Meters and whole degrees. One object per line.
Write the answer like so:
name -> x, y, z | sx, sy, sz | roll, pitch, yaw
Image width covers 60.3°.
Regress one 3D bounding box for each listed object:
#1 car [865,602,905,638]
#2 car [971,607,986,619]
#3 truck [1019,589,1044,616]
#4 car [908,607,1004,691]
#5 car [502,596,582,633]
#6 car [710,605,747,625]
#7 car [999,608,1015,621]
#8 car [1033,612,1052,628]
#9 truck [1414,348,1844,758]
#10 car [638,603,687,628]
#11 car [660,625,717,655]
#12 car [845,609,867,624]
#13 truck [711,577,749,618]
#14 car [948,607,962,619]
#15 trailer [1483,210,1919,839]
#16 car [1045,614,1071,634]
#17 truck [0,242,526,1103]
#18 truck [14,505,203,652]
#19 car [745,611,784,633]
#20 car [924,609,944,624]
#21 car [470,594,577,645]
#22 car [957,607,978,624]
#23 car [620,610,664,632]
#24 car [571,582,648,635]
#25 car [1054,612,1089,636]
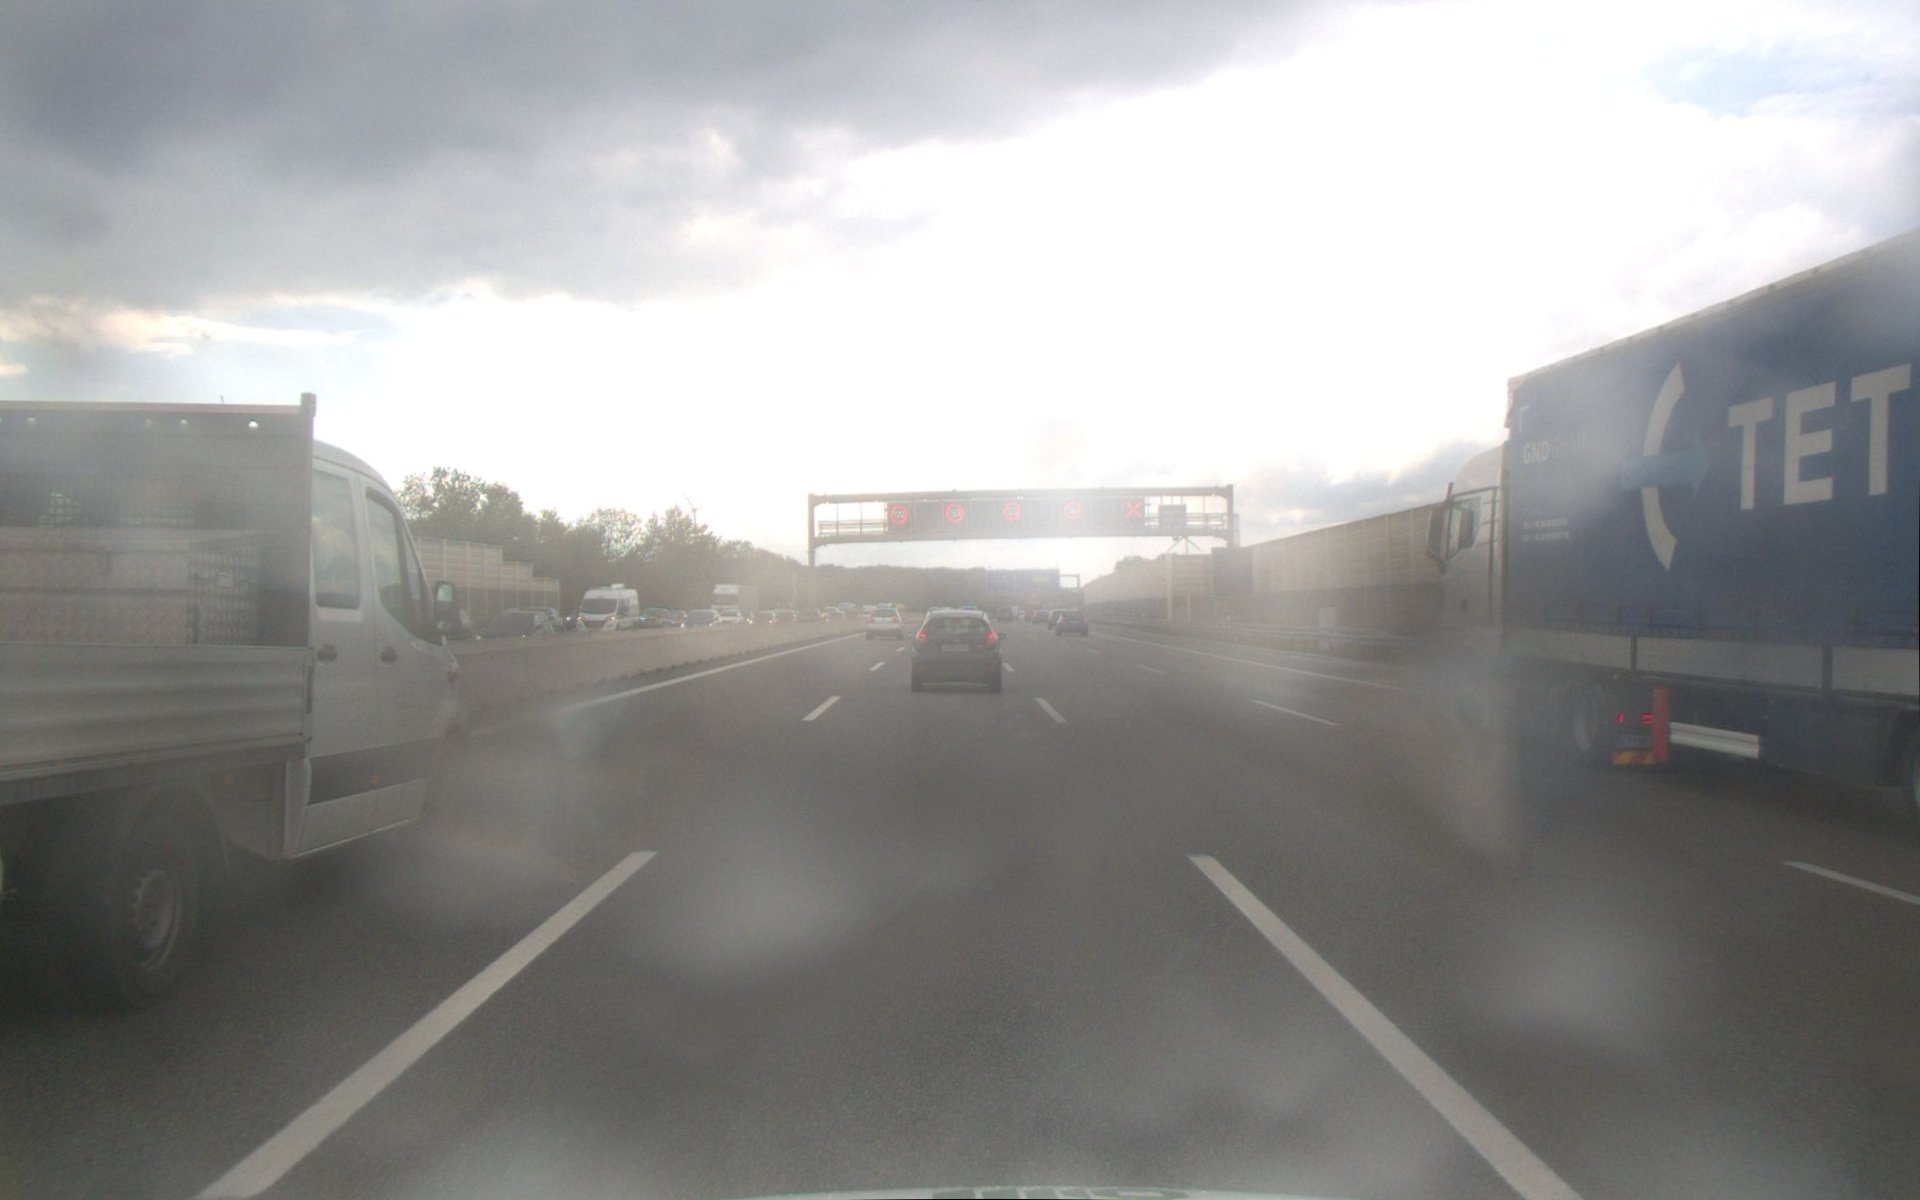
car -> -3.569, 0.950, 79.483 | 1.682, 1.652, 4.278 | 0, 0, 0
car -> 2.518, 1.772, 225.402 | 1.927, 1.588, 4.432 | -1, -1, 0
truck -> 9.764, 0.349, 227.184 | 3.087, 3.665, 12.701 | 1, 0, 1
car -> -0.091, 0.871, 31.083 | 1.682, 1.442, 4.278 | 0, 0, -1
car -> -17.654, 0.620, 70.043 | 2.017, 1.517, 4.998 | 0, -1, 1
car -> -17.768, 1.167, 126.921 | 2.017, 1.517, 4.998 | 0, -1, 1
car -> 6.073, 1.838, 213.692 | 1.927, 1.588, 4.433 | -1, -1, 1
car -> 8.901, 2.162, 178.390 | 1.843, 1.588, 4.433 | -1, -1, 1
truck -> 7.500, -0.461, 19.461 | 2.689, 4.105, 5.725 | 0, 0, -1
car -> -18.487, 0.947, 103.041 | 2.017, 1.517, 4.998 | 0, -1, 1
car -> -14.140, 2.076, 86.423 | 2.017, 1.517, 4.998 | 0, -1, 1
car -> -11.674, 1.859, 186.102 | 2.017, 1.674, 5.380 | 0, -1, 1
truck -> -23.598, -0.264, 169.883 | 2.911, 4.105, 5.726 | 0, 0, 1
car -> -0.738, 1.858, 236.260 | 1.927, 1.588, 4.433 | -1, -1, 1
trailer -> 7.596, -0.486, 12.213 | 2.705, 4.102, 14.449 | 0, 0, -1
car -> 7.985, 1.978, 135.334 | 1.844, 1.569, 4.432 | -1, -1, 0
truck -> -3.976, 0.203, 7.587 | 2.260, 2.482, 7.146 | 0, 0, -2
truck -> -25.219, -0.590, 49.320 | 2.689, 4.105, 5.725 | 0, 0, -1
car -> -13.648, 1.527, 115.480 | 2.017, 1.517, 4.998 | 0, -1, 1
car -> -2.767, 1.771, 174.978 | 1.927, 1.588, 4.433 | -1, -1, 1
car -> -13.652, 0.616, 52.029 | 2.018, 1.517, 4.997 | 0, -1, 0
car -> 0.715, 1.482, 159.565 | 1.927, 1.588, 4.433 | -1, -1, 1
car -> -22.163, 1.450, 115.559 | 2.017, 1.517, 4.998 | 0, -1, 1
car -> -17.972, 0.454, 85.221 | 2.334, 2.594, 7.087 | 0, -1, 1
car -> 6.677, 1.454, 99.639 | 1.909, 1.443, 4.232 | 0, -1, 1
